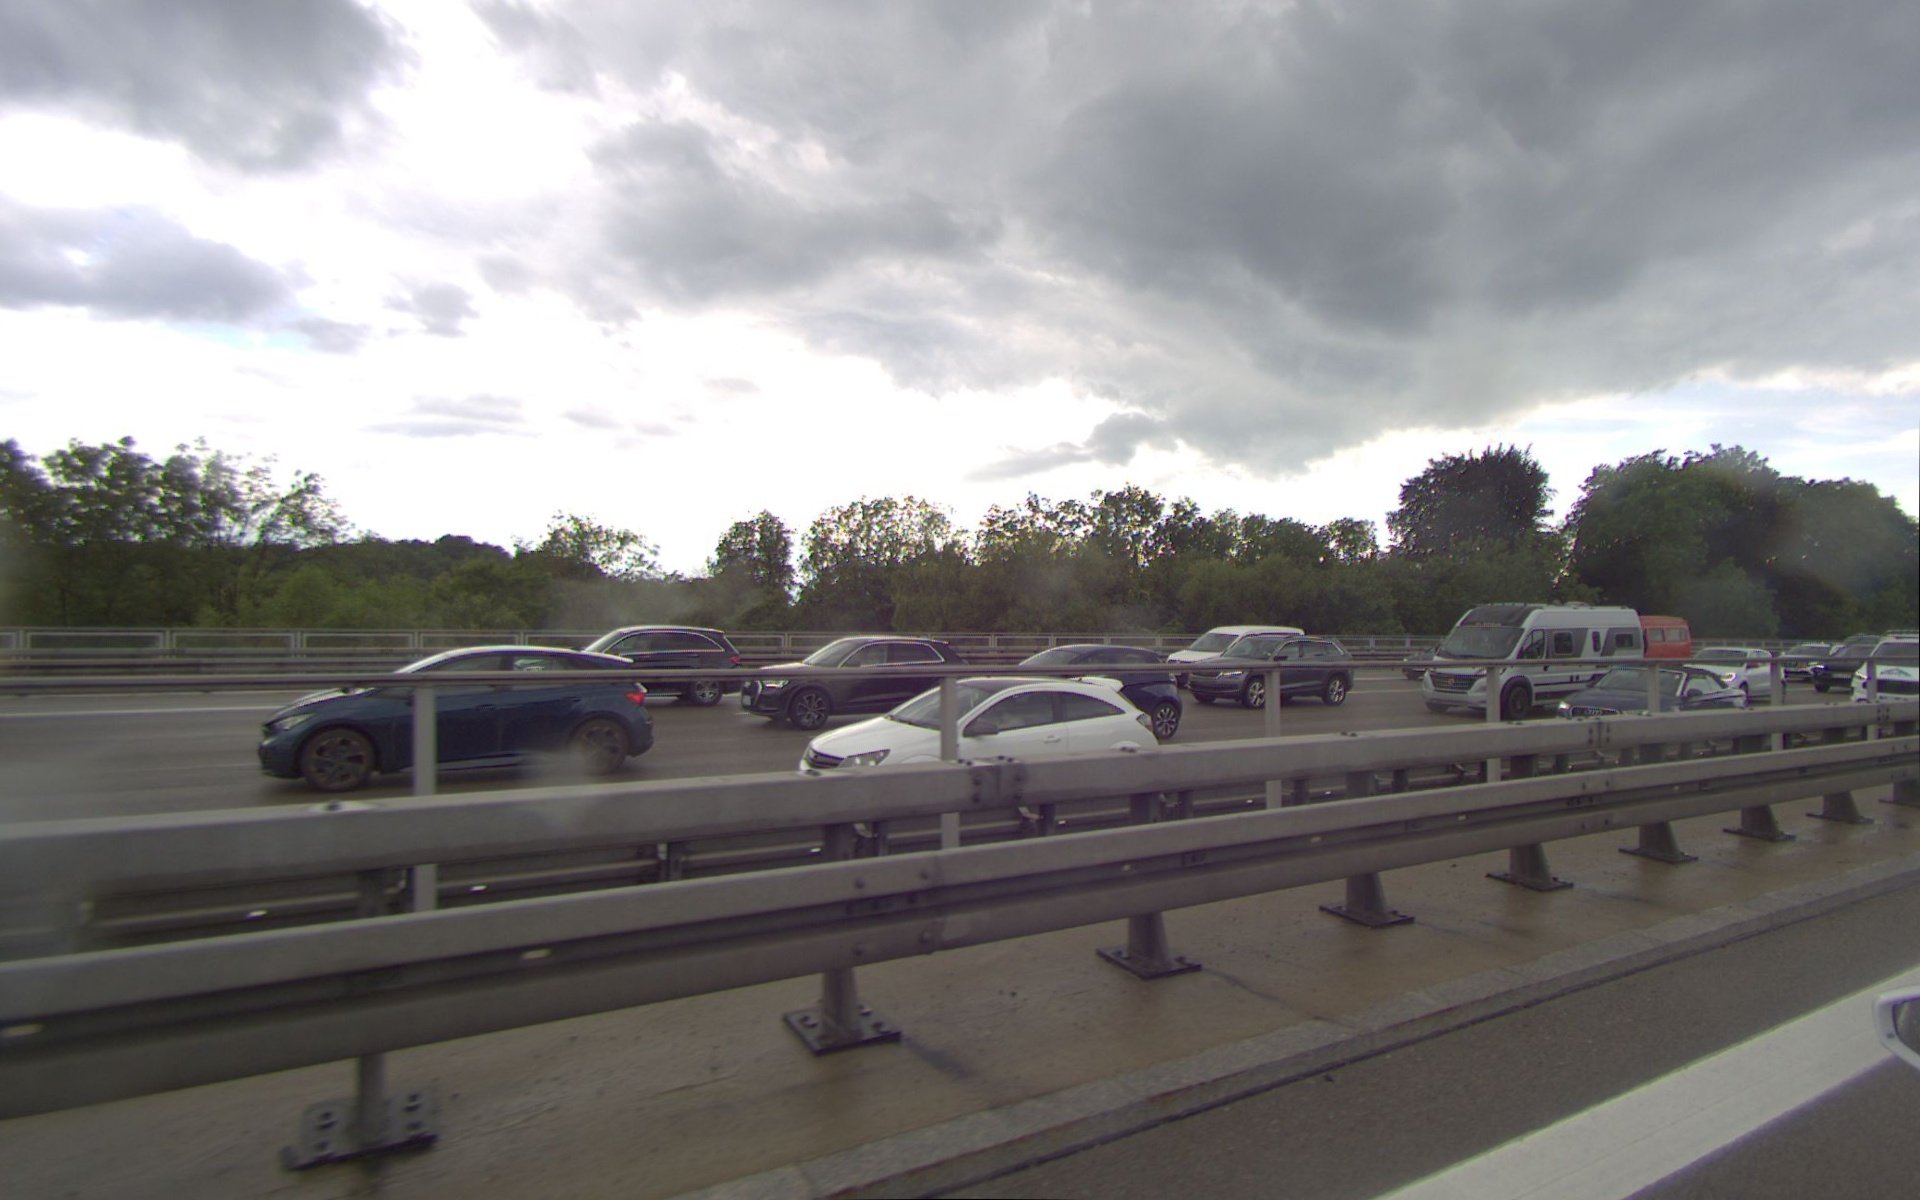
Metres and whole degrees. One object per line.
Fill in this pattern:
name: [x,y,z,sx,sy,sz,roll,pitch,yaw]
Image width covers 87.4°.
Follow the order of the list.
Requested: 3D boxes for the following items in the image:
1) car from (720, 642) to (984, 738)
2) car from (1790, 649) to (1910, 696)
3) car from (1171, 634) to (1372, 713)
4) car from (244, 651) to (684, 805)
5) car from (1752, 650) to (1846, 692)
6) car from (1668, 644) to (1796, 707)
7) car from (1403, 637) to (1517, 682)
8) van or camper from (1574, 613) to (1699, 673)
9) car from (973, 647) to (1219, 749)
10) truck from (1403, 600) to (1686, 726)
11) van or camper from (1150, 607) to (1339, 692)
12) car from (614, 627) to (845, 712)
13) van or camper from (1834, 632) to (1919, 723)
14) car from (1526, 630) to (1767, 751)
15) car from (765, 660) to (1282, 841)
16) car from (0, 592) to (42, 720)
car: [-1.941,1.564,18.563,4.532,1.532,1.822,1,-1,-31]
car: [29.907,2.387,33.714,4.960,1.428,1.668,1,-1,-32]
car: [7.617,1.710,24.393,5.008,1.732,1.822,1,-1,-31]
car: [-5.883,1.414,12.306,4.523,1.495,1.822,1,-1,-31]
car: [33.652,2.804,40.271,3.955,1.520,1.781,2,-2,-32]
car: [22.361,2.128,29.054,3.955,1.657,1.668,1,-1,-32]
car: [17.895,2.091,35.890,4.559,1.495,1.478,1,-1,-31]
van or camper: [28.270,1.774,41.901,6.163,2.335,1.930,2,-2,-31]
car: [2.378,1.596,17.313,3.988,1.495,1.822,1,-1,-32]
truck: [14.325,1.412,24.285,8.658,2.637,2.135,1,-1,-32]
van or camper: [8.615,1.461,30.164,5.866,2.360,2.036,2,-2,-31]
car: [-4.950,1.429,21.809,4.614,1.669,1.679,1,-1,-30]
van or camper: [24.334,1.871,25.303,5.580,2.095,1.973,1,-1,-32]
car: [12.764,1.556,18.621,4.670,1.975,1.938,1,-1,-31]
car: [0.903,1.498,11.380,5.854,1.495,1.823,1,-1,-31]
car: [-17.553,0.824,14.957,5.358,1.970,1.993,2,-2,-31]
